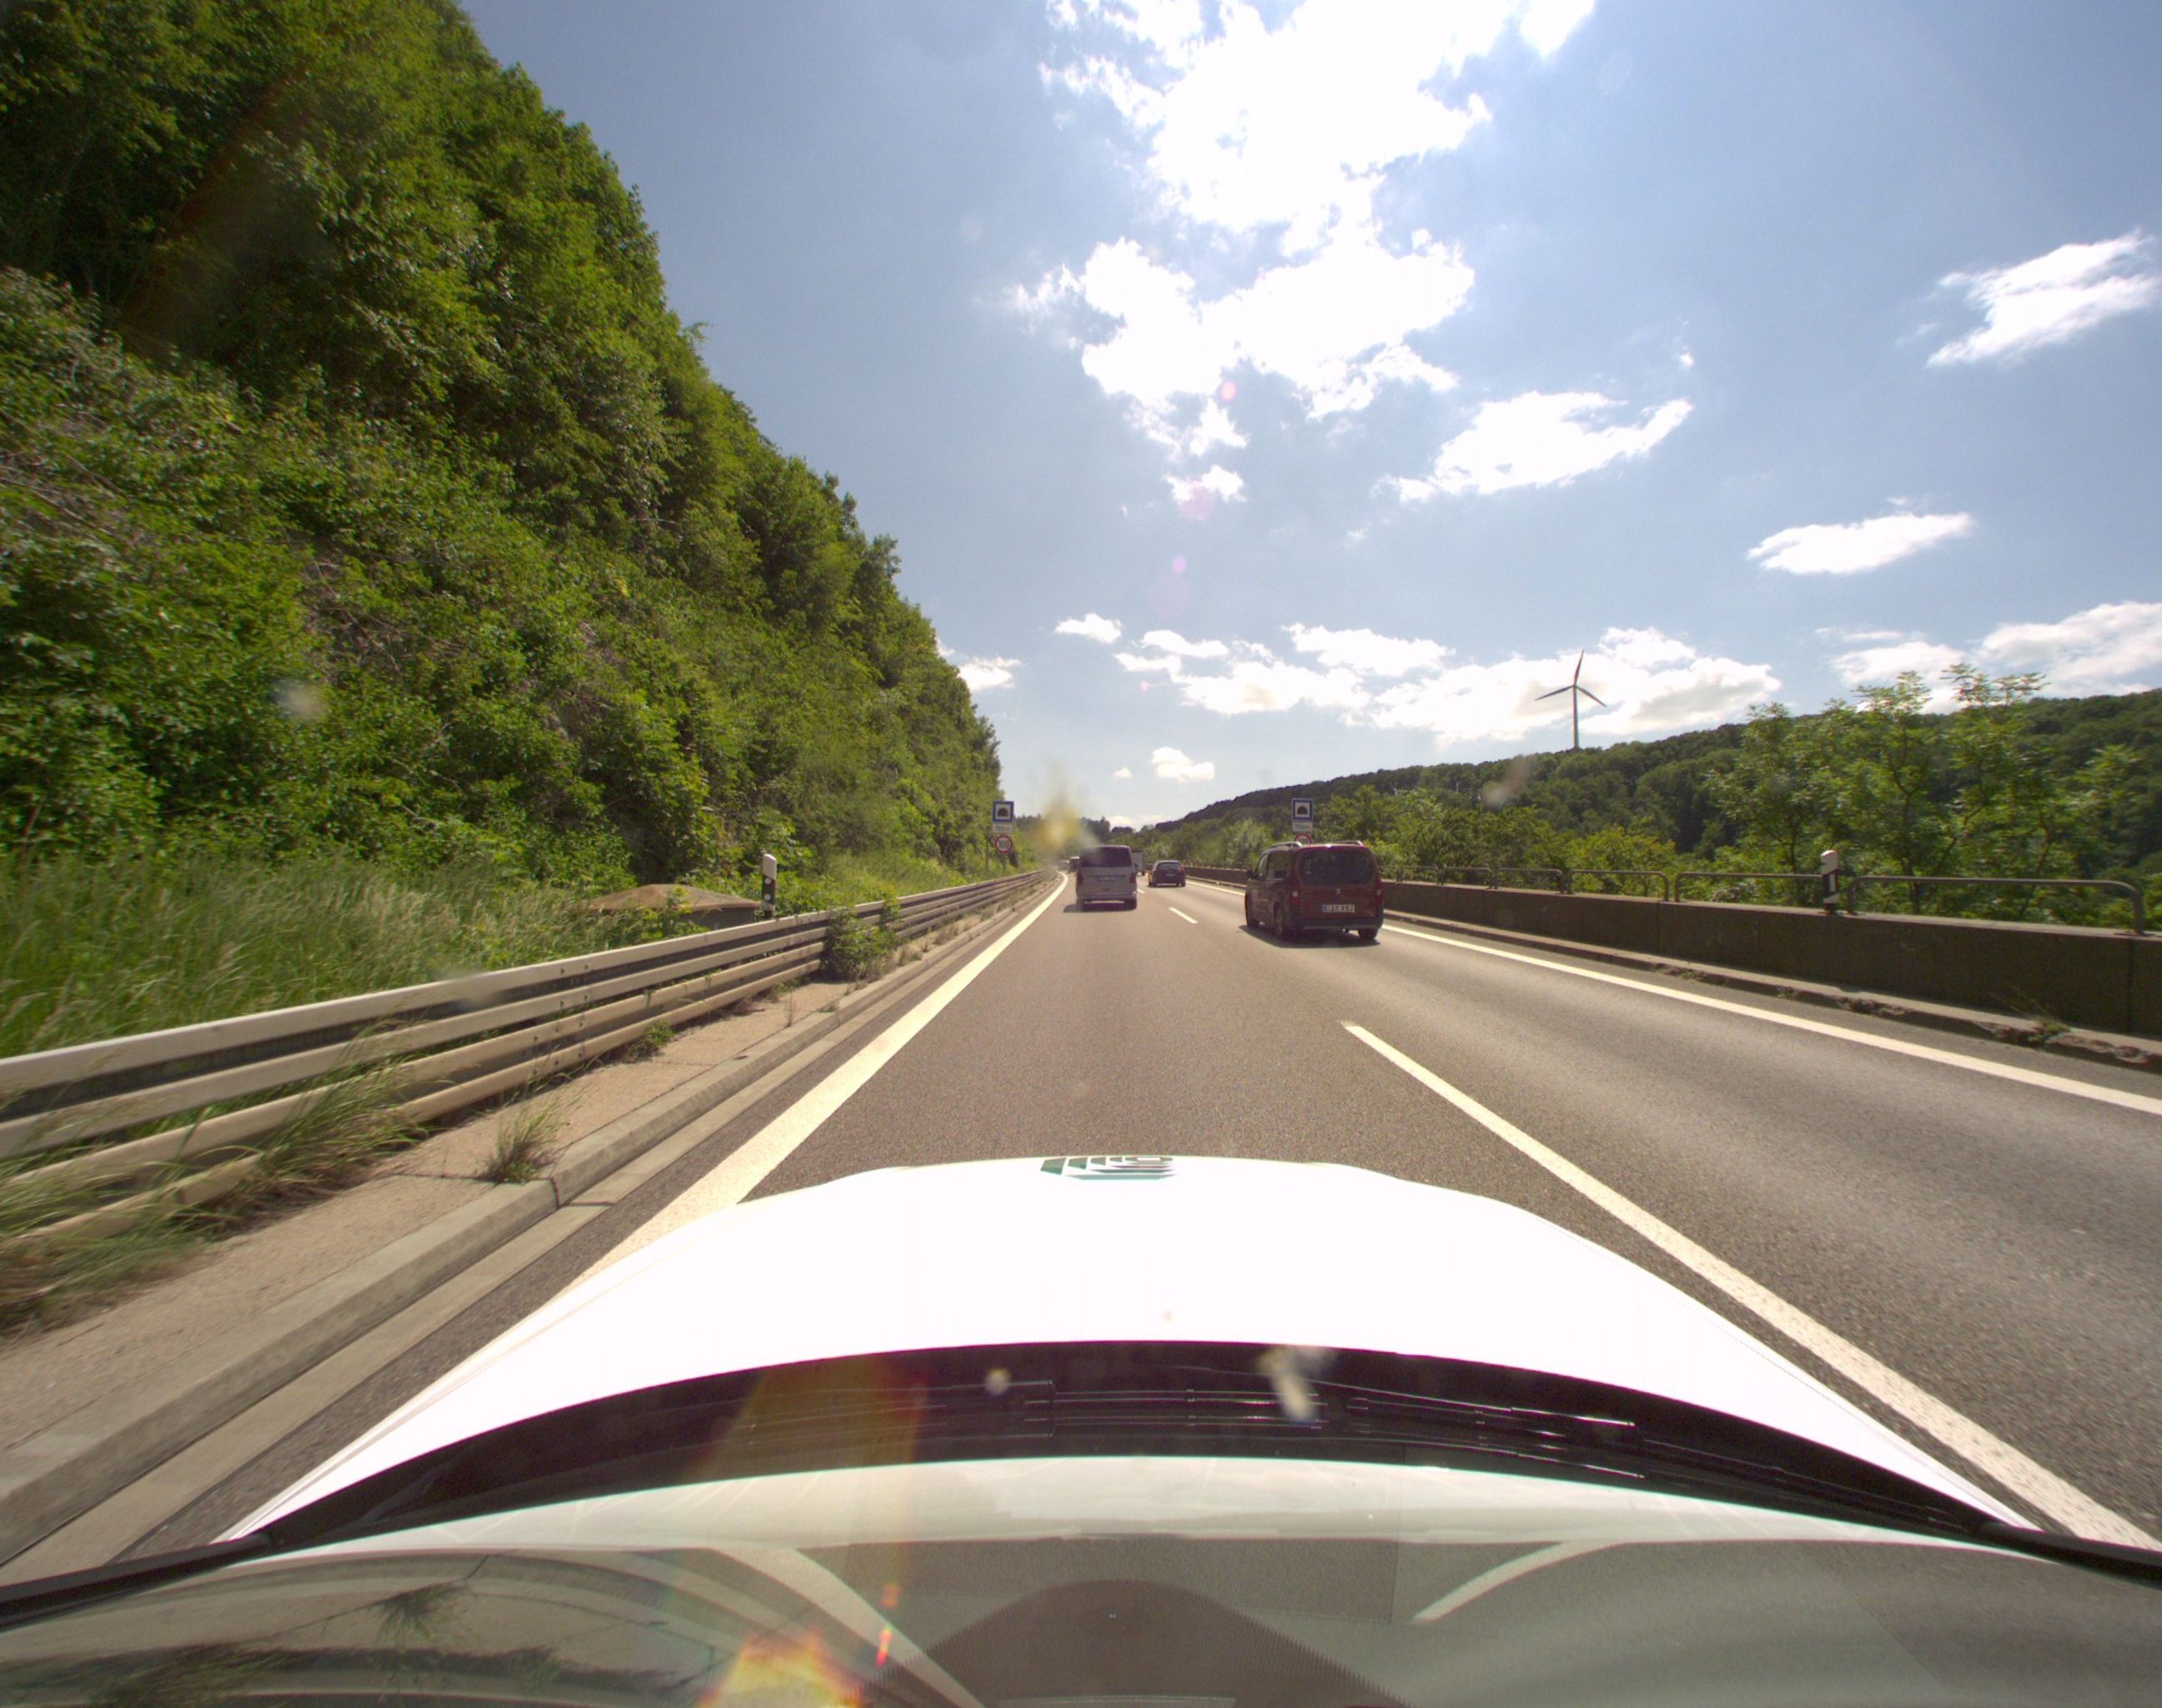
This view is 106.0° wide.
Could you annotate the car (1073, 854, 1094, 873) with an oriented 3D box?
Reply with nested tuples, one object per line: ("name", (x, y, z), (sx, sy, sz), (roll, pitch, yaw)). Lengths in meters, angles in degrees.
("car", (0.222, 0.927, 79.403), (1.987, 1.818, 3.999), (-1, 0, 0))

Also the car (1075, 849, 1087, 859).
("car", (-0.029, -0.039, 166.278), (1.990, 2.014, 3.993), (-1, 0, -5))

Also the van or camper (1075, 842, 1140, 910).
("van or camper", (0.767, 0.668, 26.296), (1.870, 1.949, 4.292), (-2, -1, -1))

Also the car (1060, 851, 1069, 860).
("car", (-3.659, 0.374, 181.580), (1.989, 2.014, 3.996), (-1, 0, -3))

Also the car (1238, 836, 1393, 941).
("car", (4.545, 0.641, 16.572), (1.827, 1.784, 4.676), (-1, -1, 1))

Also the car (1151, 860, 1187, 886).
("car", (4.878, 1.029, 45.416), (1.761, 1.376, 3.595), (-1, 0, 2))

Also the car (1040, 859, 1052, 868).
("car", (-6.456, 1.794, 151.013), (2.138, 1.607, 5.072), (-2, -1, -3))

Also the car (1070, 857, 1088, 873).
("car", (-0.252, 1.222, 94.546), (1.987, 1.818, 3.999), (-1, 0, 0))

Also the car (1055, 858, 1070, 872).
("car", (-2.669, 1.490, 115.547), (1.988, 1.915, 3.997), (-1, 0, -2))

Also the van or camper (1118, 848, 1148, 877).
("van or camper", (4.775, 0.807, 75.288), (2.258, 2.551, 4.732), (-2, -1, -2))
